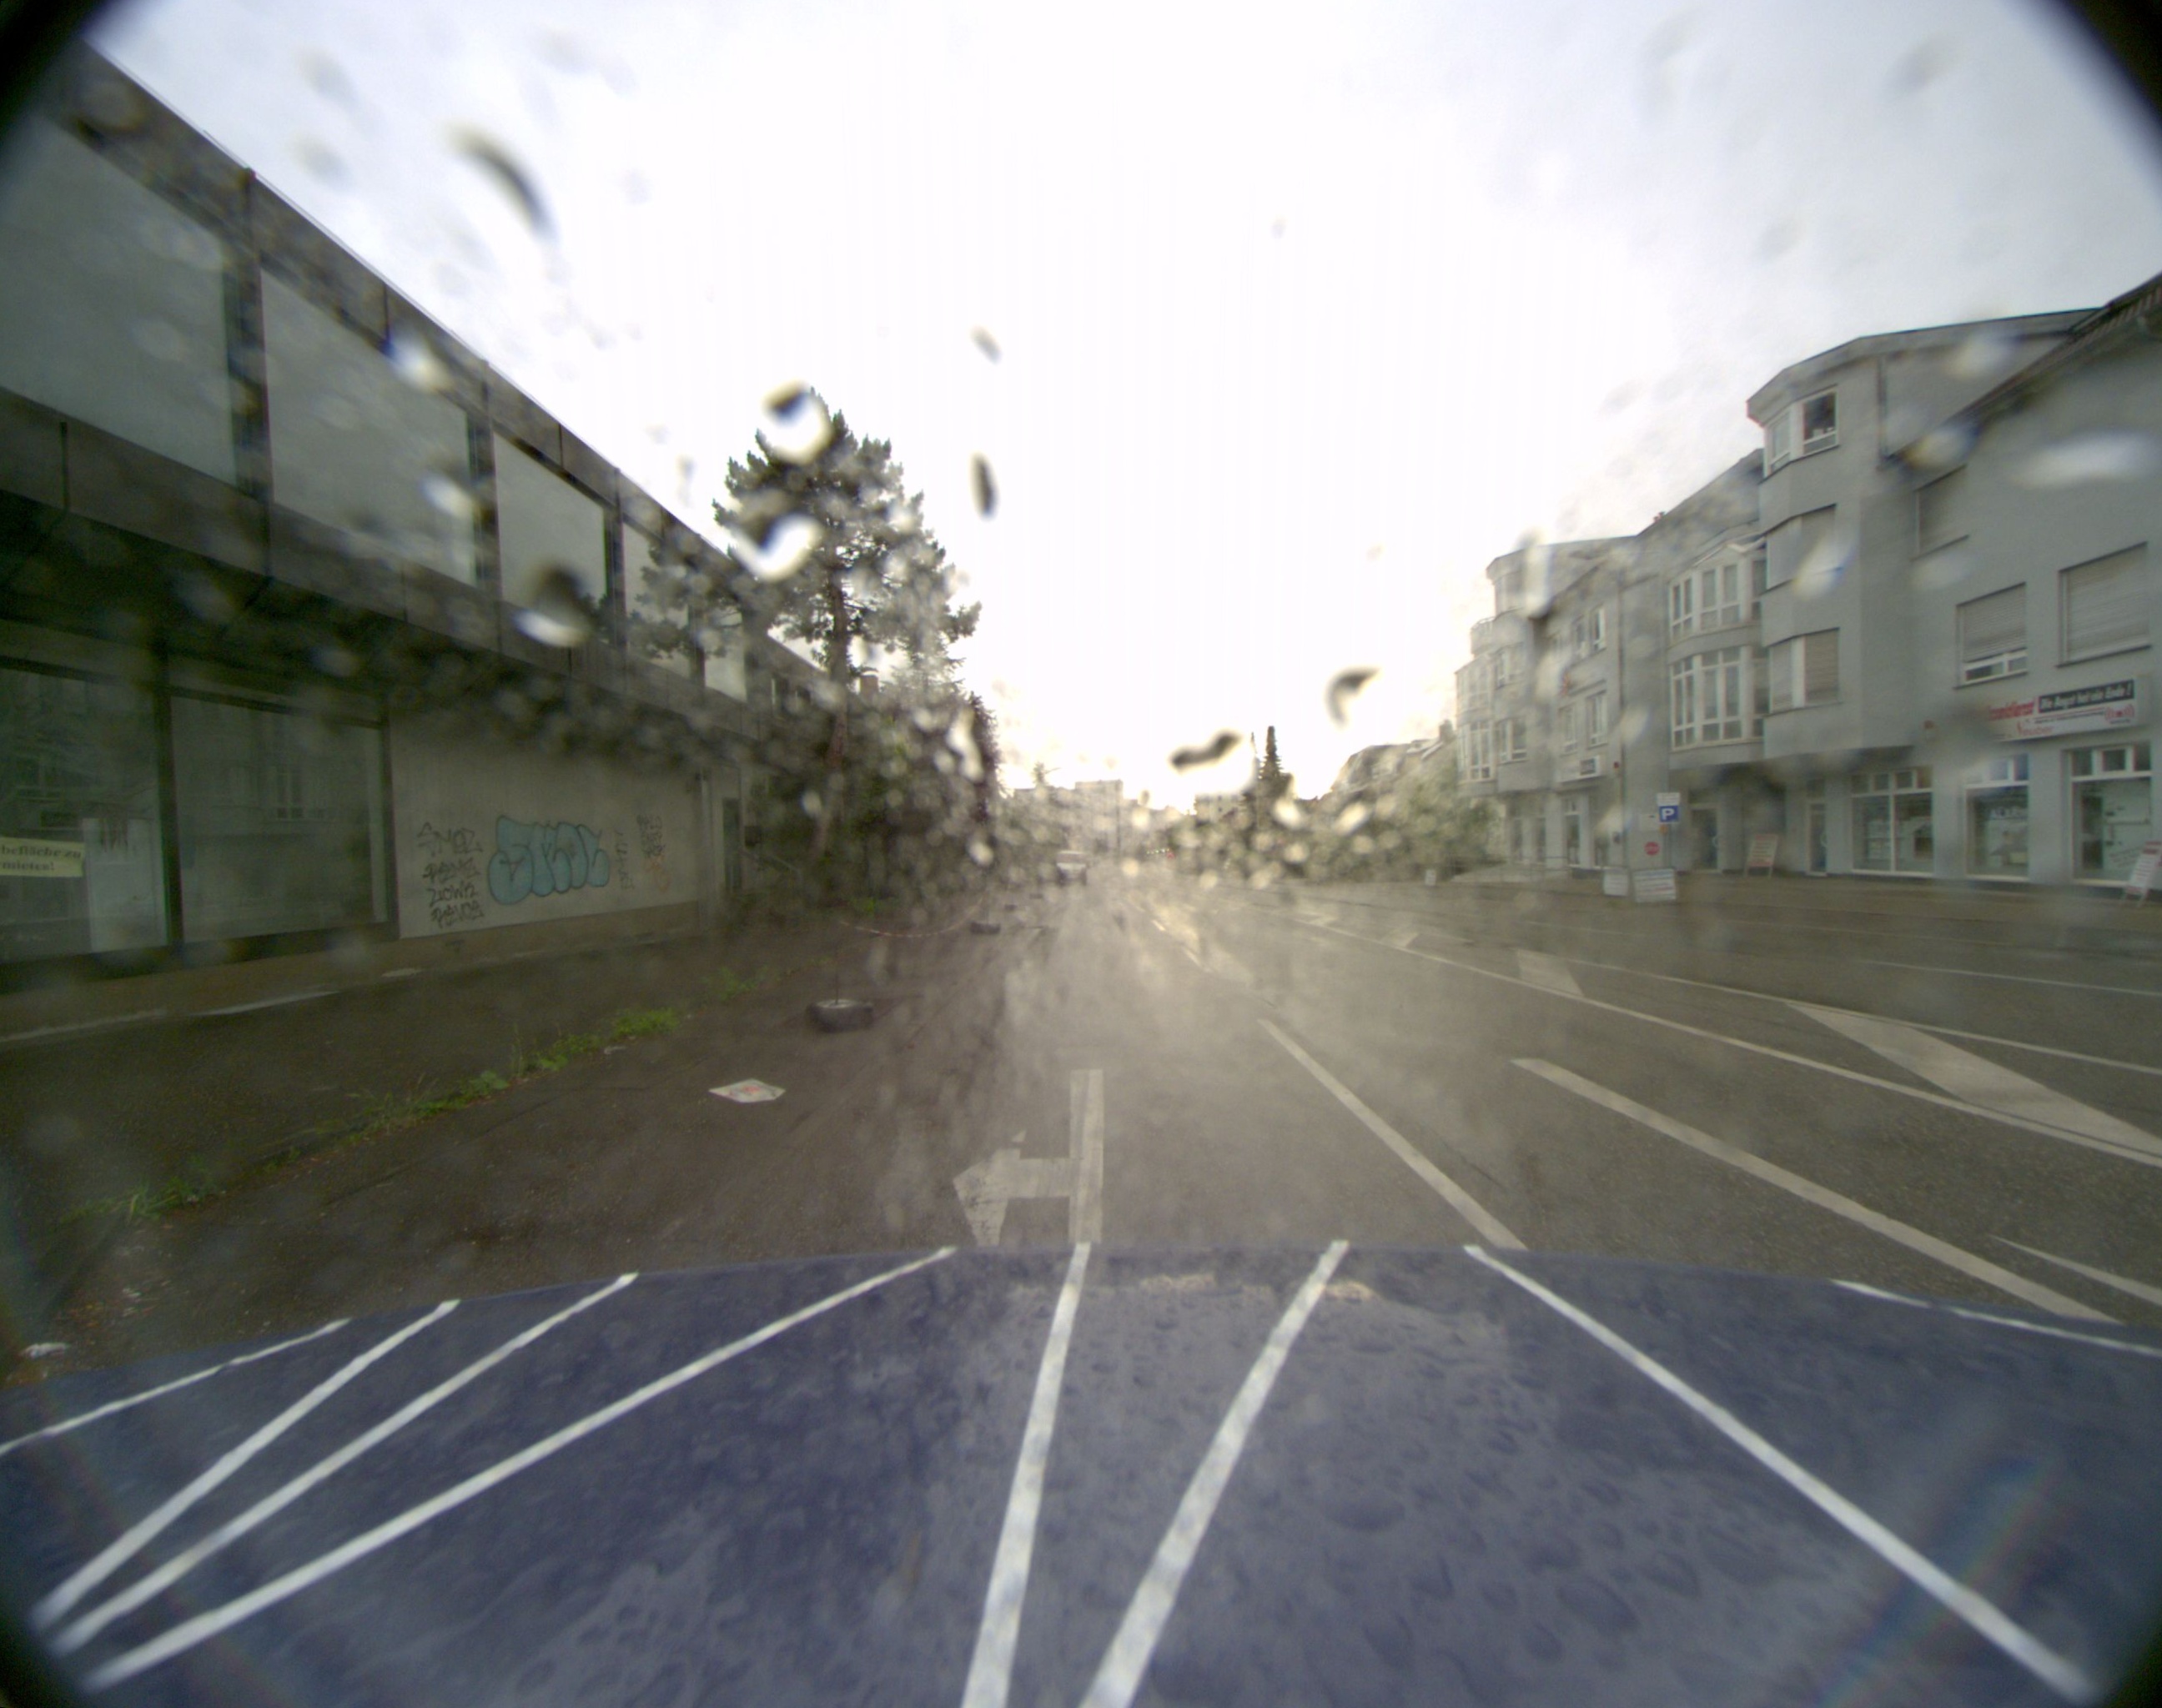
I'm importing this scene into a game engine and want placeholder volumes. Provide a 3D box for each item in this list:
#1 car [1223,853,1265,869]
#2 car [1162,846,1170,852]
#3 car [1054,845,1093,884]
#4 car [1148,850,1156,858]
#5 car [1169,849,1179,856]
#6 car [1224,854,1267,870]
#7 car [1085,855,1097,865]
[{"bbox_3d":[17.571,0.749,82.036,4.114,1.536,2.001,-3,0,6],"label":"car"},{"bbox_3d":[23.916,-1.461,213.684,1.850,1.753,4.124,-1,0,11],"label":"car"},{"bbox_3d":[-0.457,0.649,50.818,2.397,2.417,6.433,-1,0,0],"label":"car"},{"bbox_3d":[17.065,0.071,183.462,1.851,1.870,4.122,-1,0,5],"label":"car"},{"bbox_3d":[22.002,-0.436,179.888,1.997,1.606,4.003,-1,0,11],"label":"car"},{"bbox_3d":[17.165,0.817,79.324,4.155,1.434,1.891,-3,0,8],"label":"car"},{"bbox_3d":[1.757,1.052,132.983,1.912,1.622,3.704,-1,0,5],"label":"car"}]
